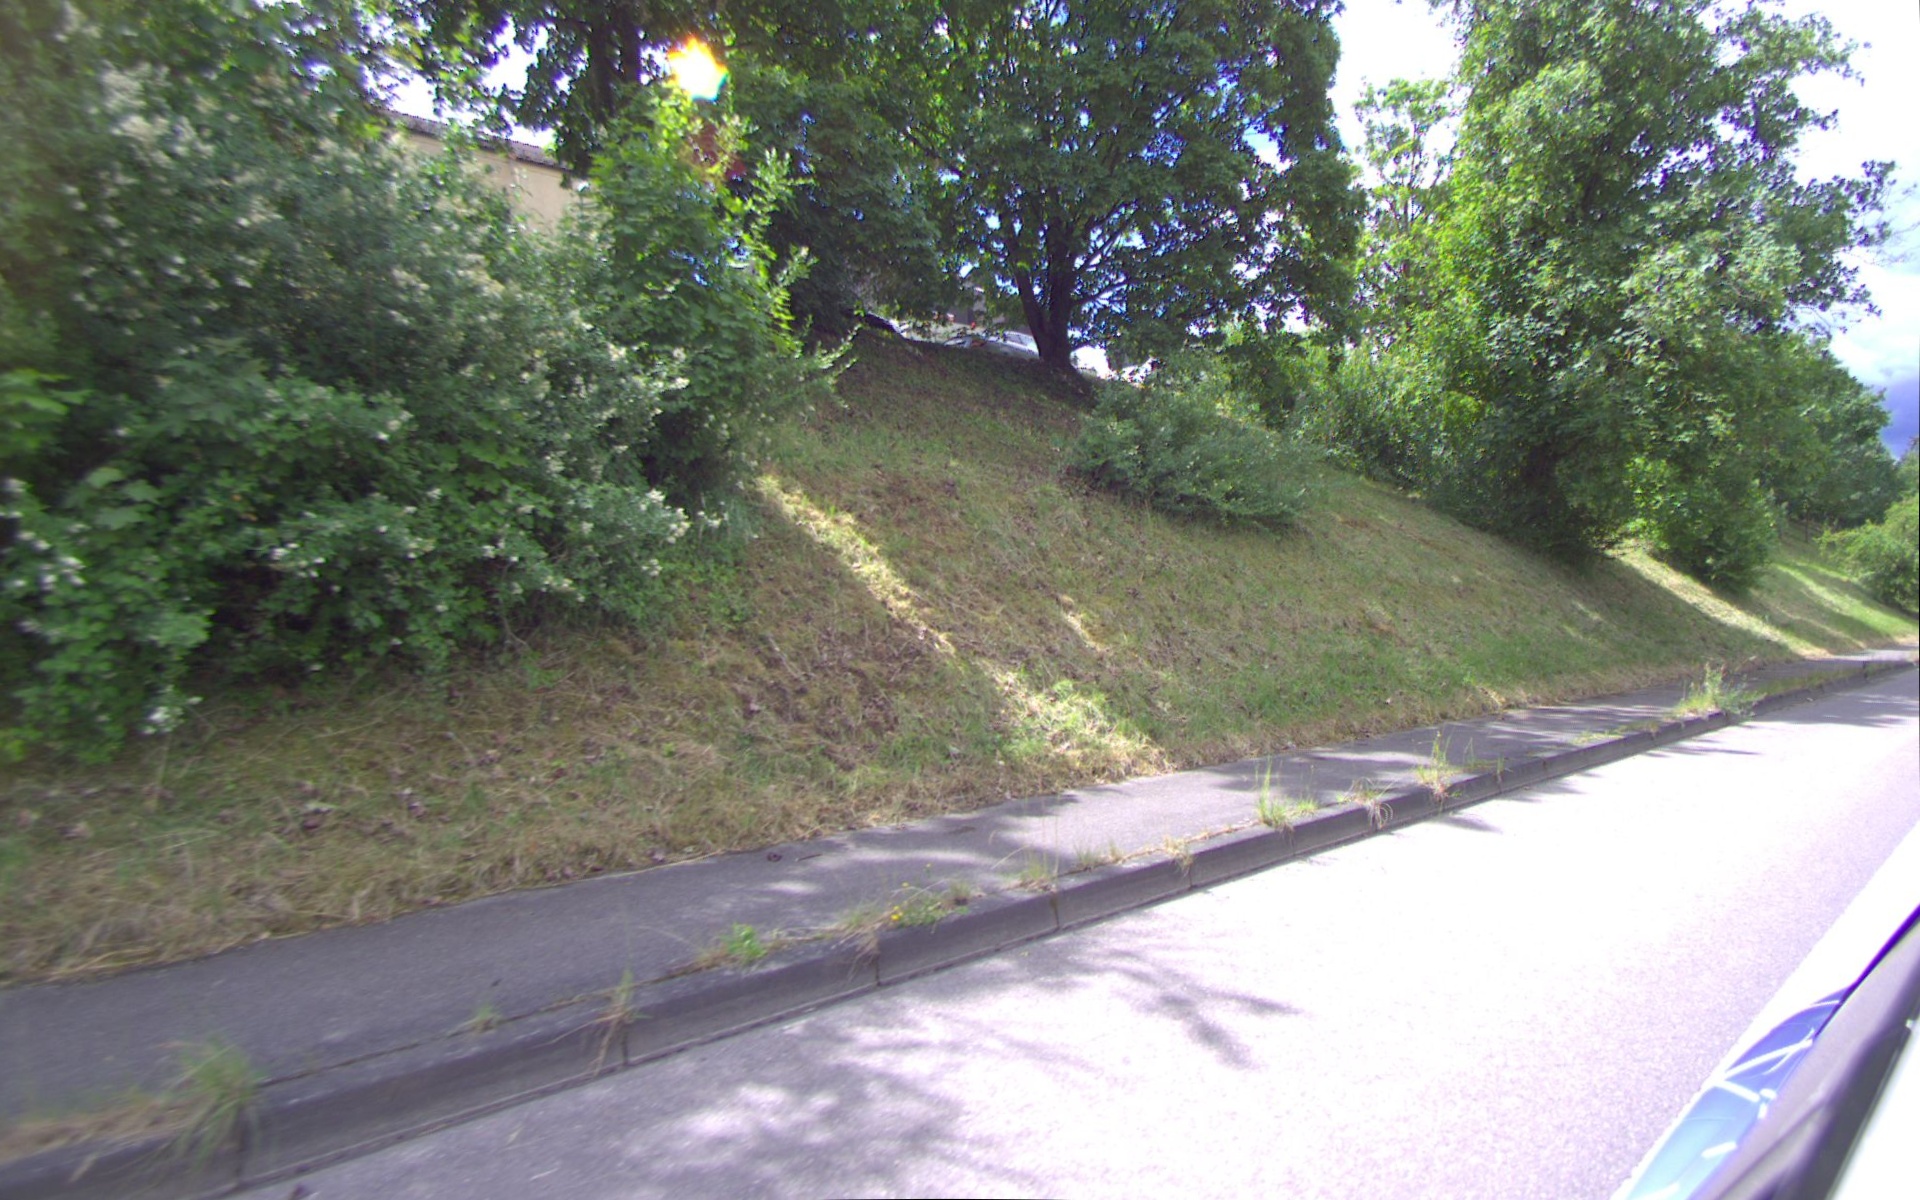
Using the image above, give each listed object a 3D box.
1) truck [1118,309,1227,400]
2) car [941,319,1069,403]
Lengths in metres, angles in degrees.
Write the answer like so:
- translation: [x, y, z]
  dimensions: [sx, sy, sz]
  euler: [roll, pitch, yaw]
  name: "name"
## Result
- translation: [6.639, -7.548, 31.444]
  dimensions: [3.902, 1.965, 1.385]
  euler: [0, 0, -44]
  name: "truck"
- translation: [1.203, -6.153, 26.380]
  dimensions: [3.275, 1.460, 1.452]
  euler: [0, 0, -41]
  name: "car"
